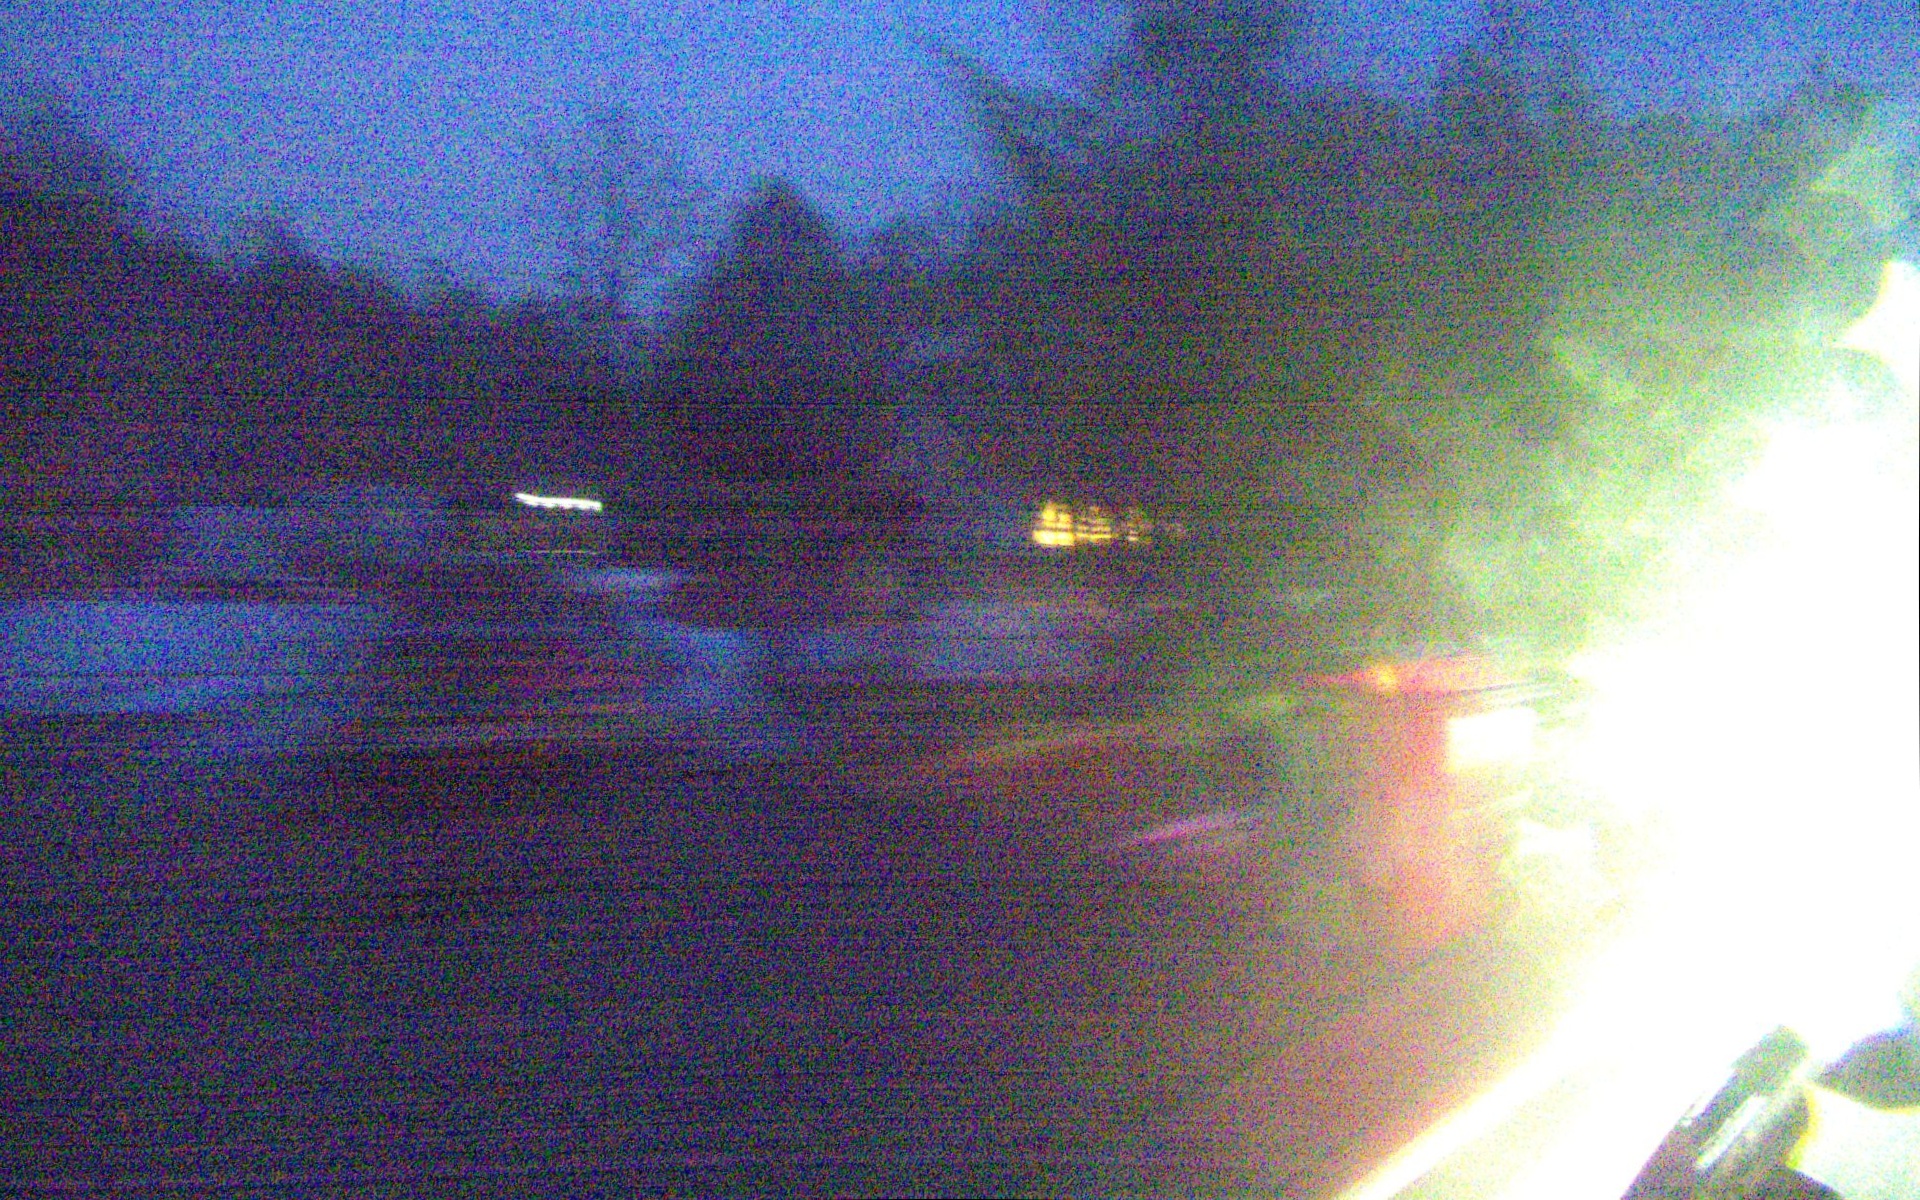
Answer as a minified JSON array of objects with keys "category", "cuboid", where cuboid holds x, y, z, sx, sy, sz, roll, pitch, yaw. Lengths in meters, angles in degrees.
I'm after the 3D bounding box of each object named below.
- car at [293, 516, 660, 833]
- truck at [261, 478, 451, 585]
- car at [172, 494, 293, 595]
[{"category":"car","cuboid":[-3.246,0.243,6.952,1.713,1.539,3.747,0,4,-25]},{"category":"truck","cuboid":[-17.057,-1.835,28.544,5.305,2.787,2.205,1,1,28]},{"category":"car","cuboid":[-16.540,-1.242,22.917,1.964,2.038,4.754,0,3,-39]}]
